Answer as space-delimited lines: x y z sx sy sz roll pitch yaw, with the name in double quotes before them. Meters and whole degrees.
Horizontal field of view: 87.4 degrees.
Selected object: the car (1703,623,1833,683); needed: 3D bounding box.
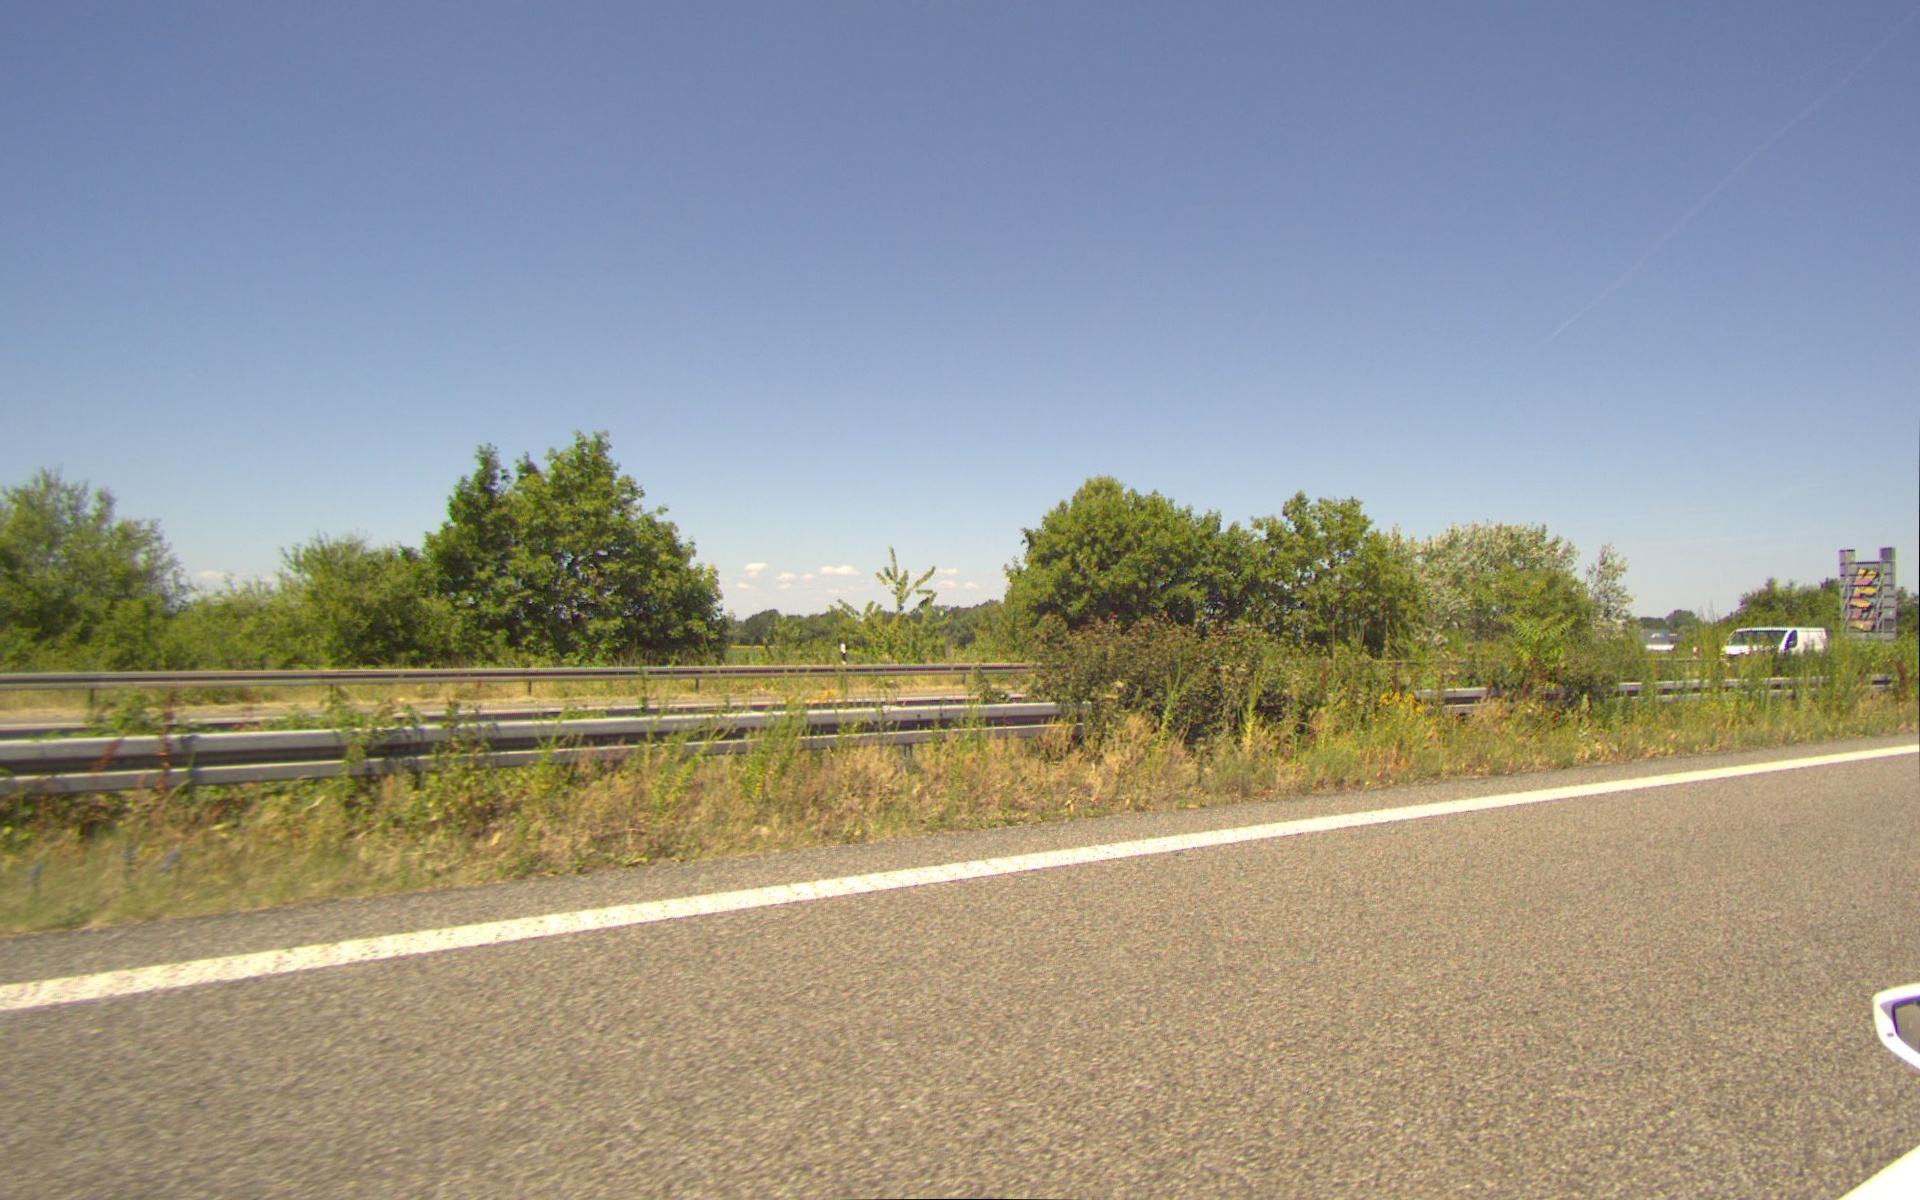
"car" 29.598 1.905 36.757 5.211 2.017 1.984 1 0 -31
